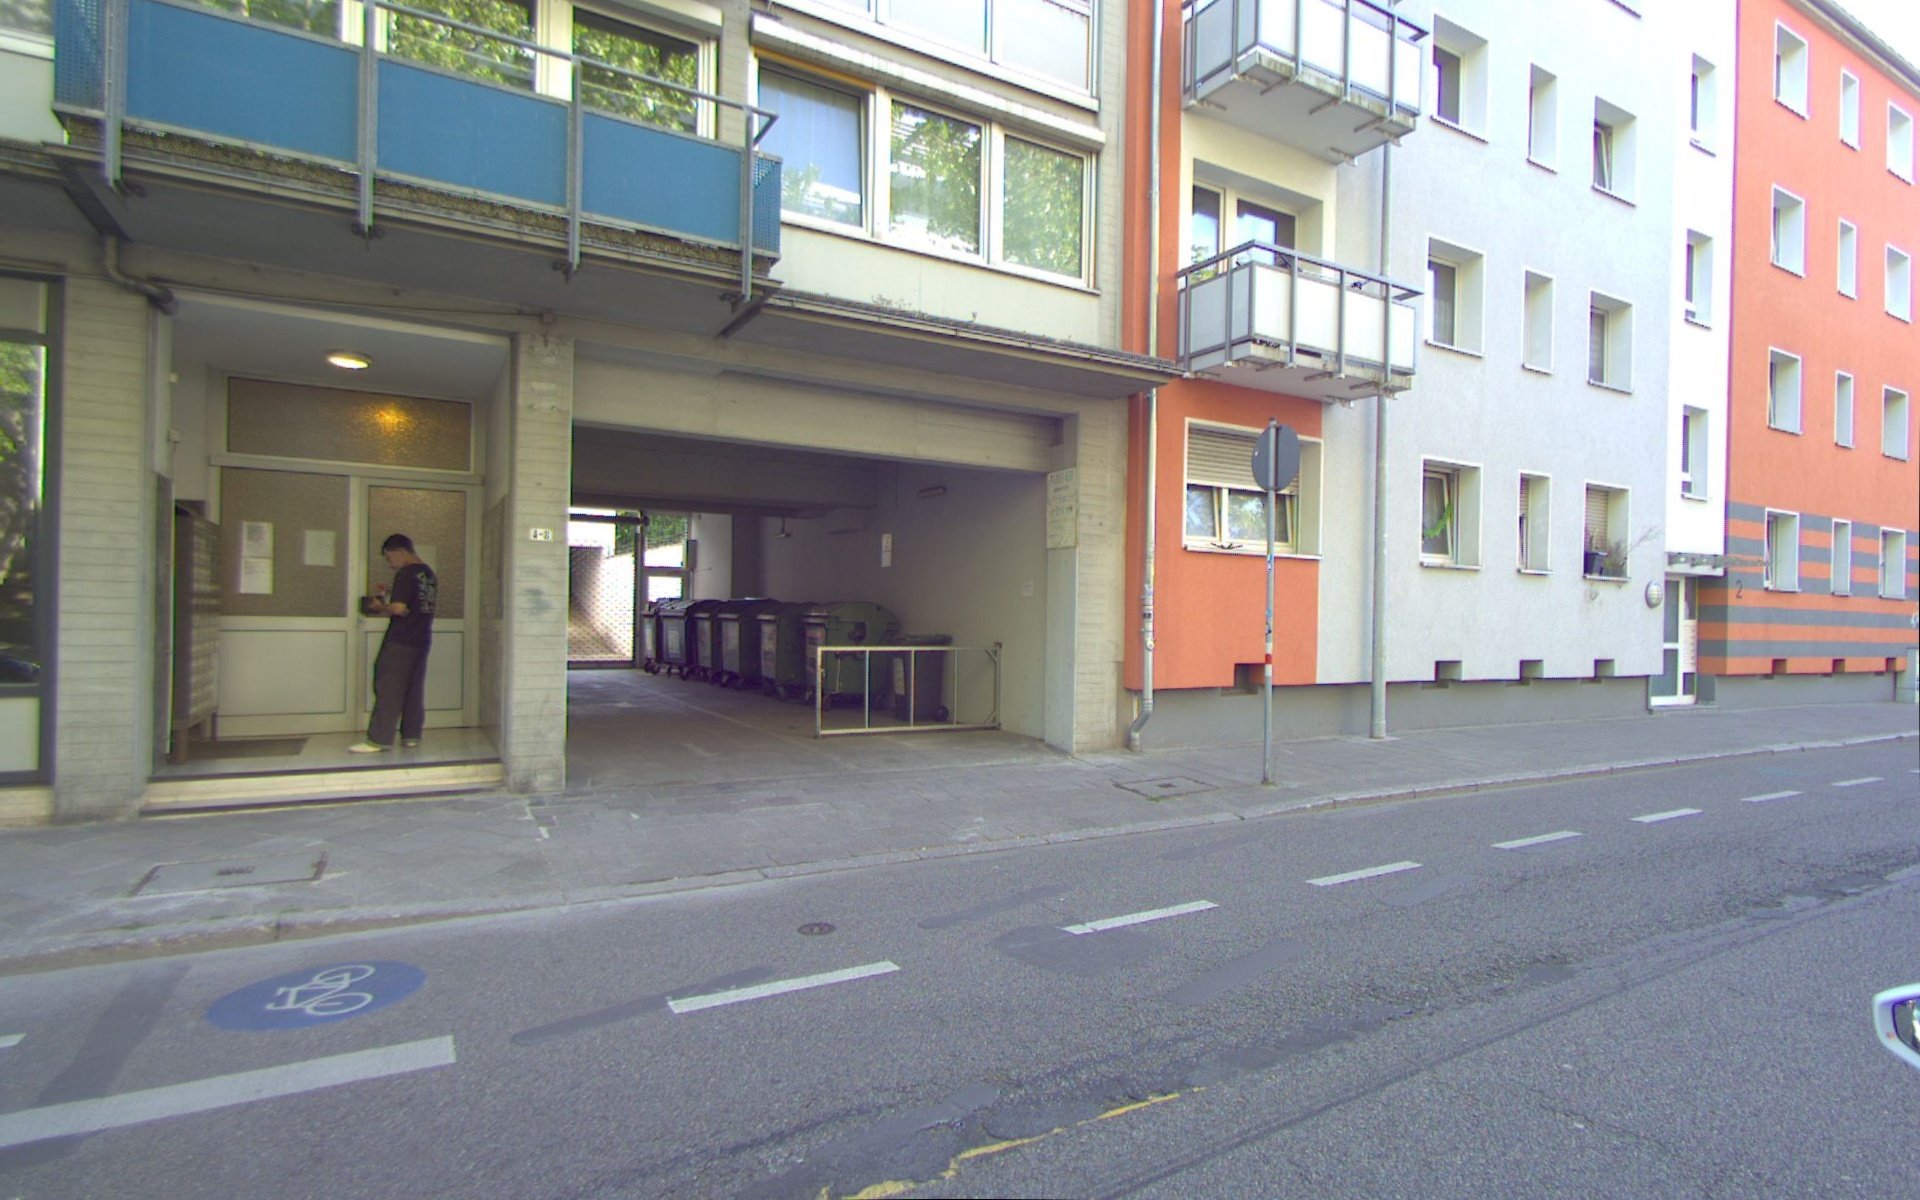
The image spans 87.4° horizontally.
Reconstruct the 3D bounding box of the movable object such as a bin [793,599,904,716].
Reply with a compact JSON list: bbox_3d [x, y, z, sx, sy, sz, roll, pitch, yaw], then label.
[{"bbox_3d":[-1.543,0.753,13.778,1.086,1.503,1.251,1,0,-30],"label":"movable object such as a bin"}]

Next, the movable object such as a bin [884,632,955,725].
[{"bbox_3d":[-0.505,0.953,12.446,0.687,1.094,0.579,1,0,-30],"label":"movable object such as a bin"}]

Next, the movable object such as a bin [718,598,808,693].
[{"bbox_3d":[-3.269,0.738,16.650,1.167,1.503,1.073,1,0,-30],"label":"movable object such as a bin"}]

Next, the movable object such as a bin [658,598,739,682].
[{"bbox_3d":[-4.880,0.724,18.685,1.167,1.503,1.215,1,0,-30],"label":"movable object such as a bin"}]

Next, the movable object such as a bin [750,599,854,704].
[{"bbox_3d":[-2.393,0.744,15.152,1.167,1.503,1.252,1,0,-30],"label":"movable object such as a bin"}]

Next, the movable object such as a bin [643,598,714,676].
[{"bbox_3d":[-5.585,0.723,19.922,1.167,1.503,0.819,1,0,-30],"label":"movable object such as a bin"}]

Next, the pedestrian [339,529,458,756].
[{"bbox_3d":[-4.496,0.328,8.077,0.537,1.736,0.662,1,0,3],"label":"pedestrian"}]

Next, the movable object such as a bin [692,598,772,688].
[{"bbox_3d":[-4.013,0.736,17.642,1.080,1.503,1.159,1,0,-30],"label":"movable object such as a bin"}]
